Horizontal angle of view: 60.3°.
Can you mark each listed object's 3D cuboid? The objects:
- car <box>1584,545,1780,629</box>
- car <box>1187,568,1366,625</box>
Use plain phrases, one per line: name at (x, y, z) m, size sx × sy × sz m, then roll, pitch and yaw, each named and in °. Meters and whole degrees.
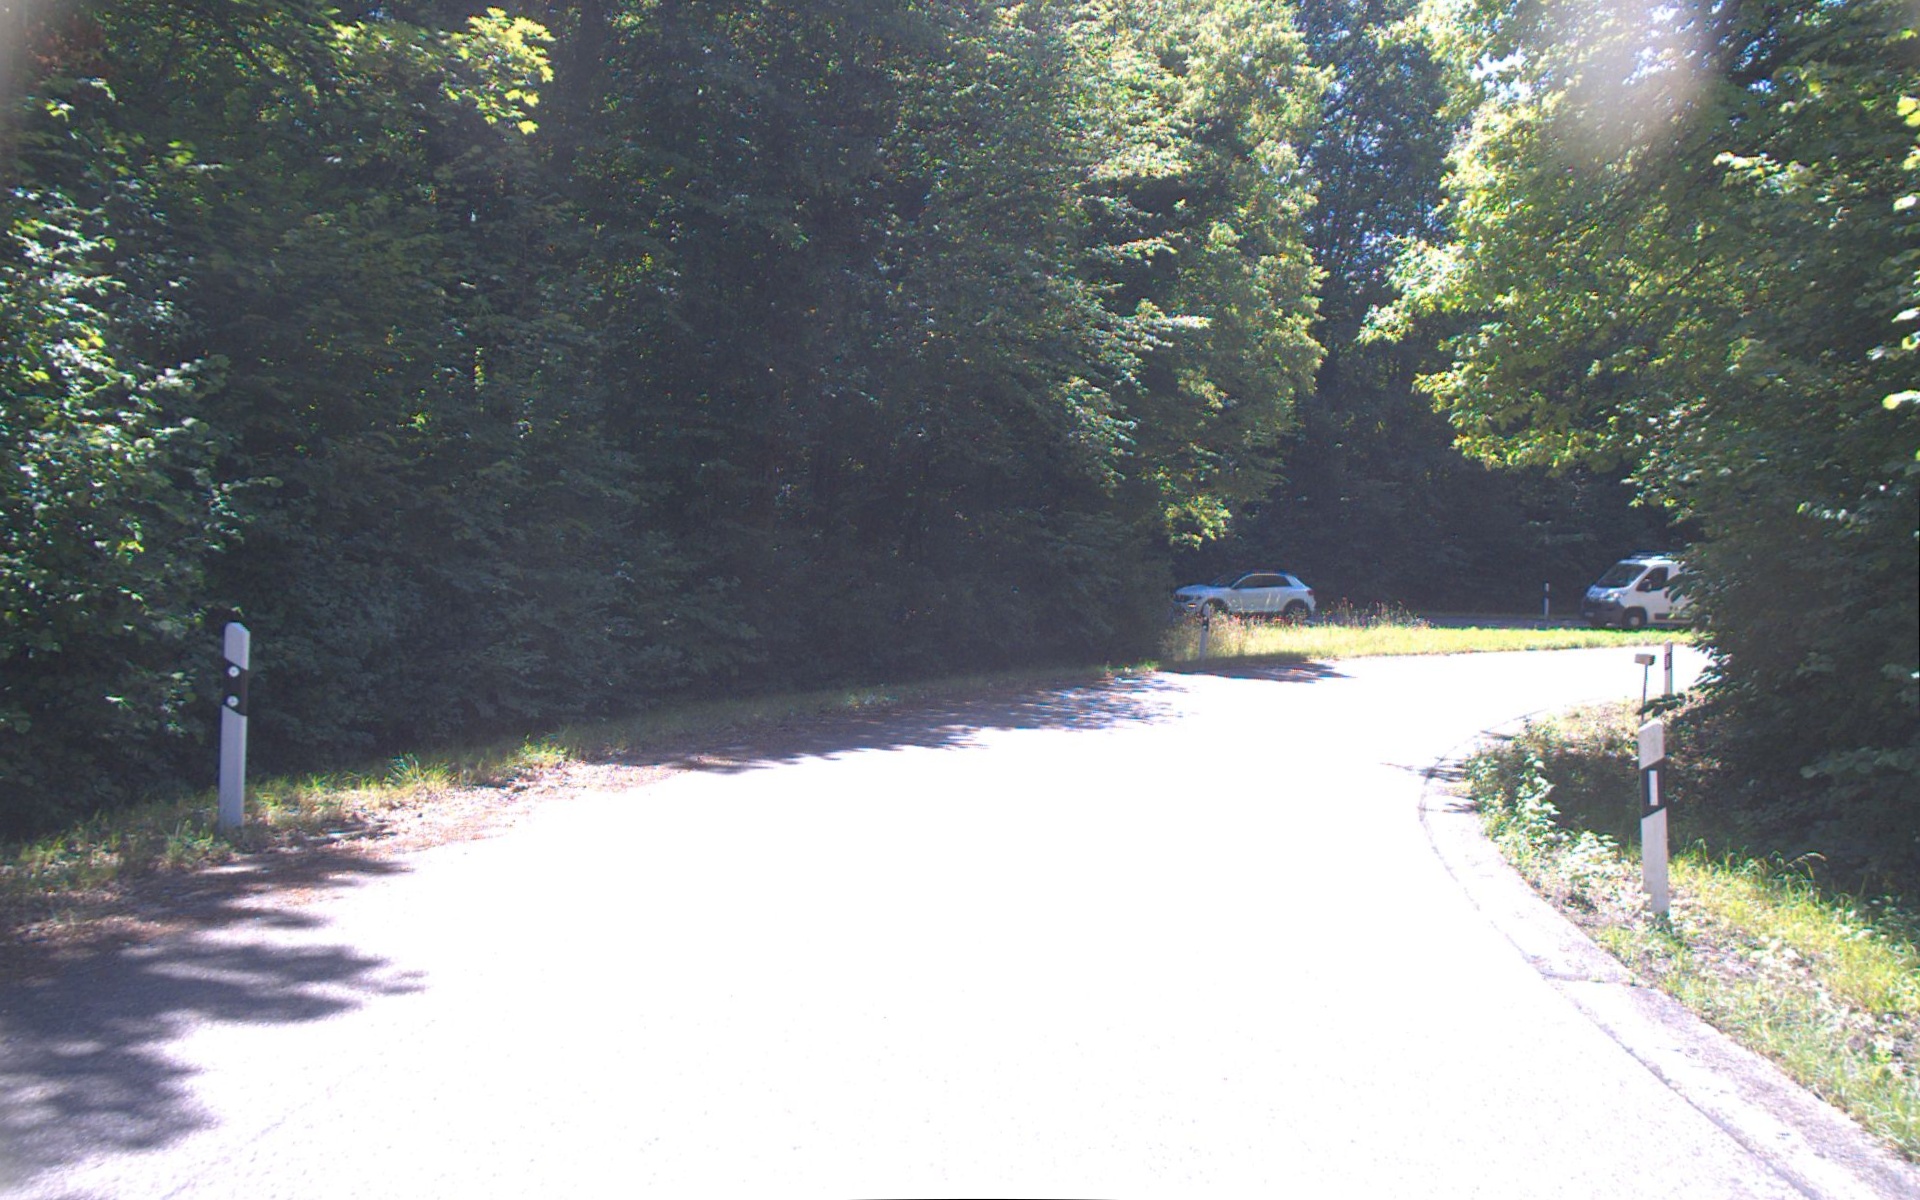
car at (22.364, -0.418, 51.282) m, size 5.316 × 2.386 × 2.062 m, roll 1°, pitch 4°, yaw -14°
car at (9.127, -0.105, 47.808) m, size 4.774 × 1.477 × 1.755 m, roll 1°, pitch 4°, yaw -16°
